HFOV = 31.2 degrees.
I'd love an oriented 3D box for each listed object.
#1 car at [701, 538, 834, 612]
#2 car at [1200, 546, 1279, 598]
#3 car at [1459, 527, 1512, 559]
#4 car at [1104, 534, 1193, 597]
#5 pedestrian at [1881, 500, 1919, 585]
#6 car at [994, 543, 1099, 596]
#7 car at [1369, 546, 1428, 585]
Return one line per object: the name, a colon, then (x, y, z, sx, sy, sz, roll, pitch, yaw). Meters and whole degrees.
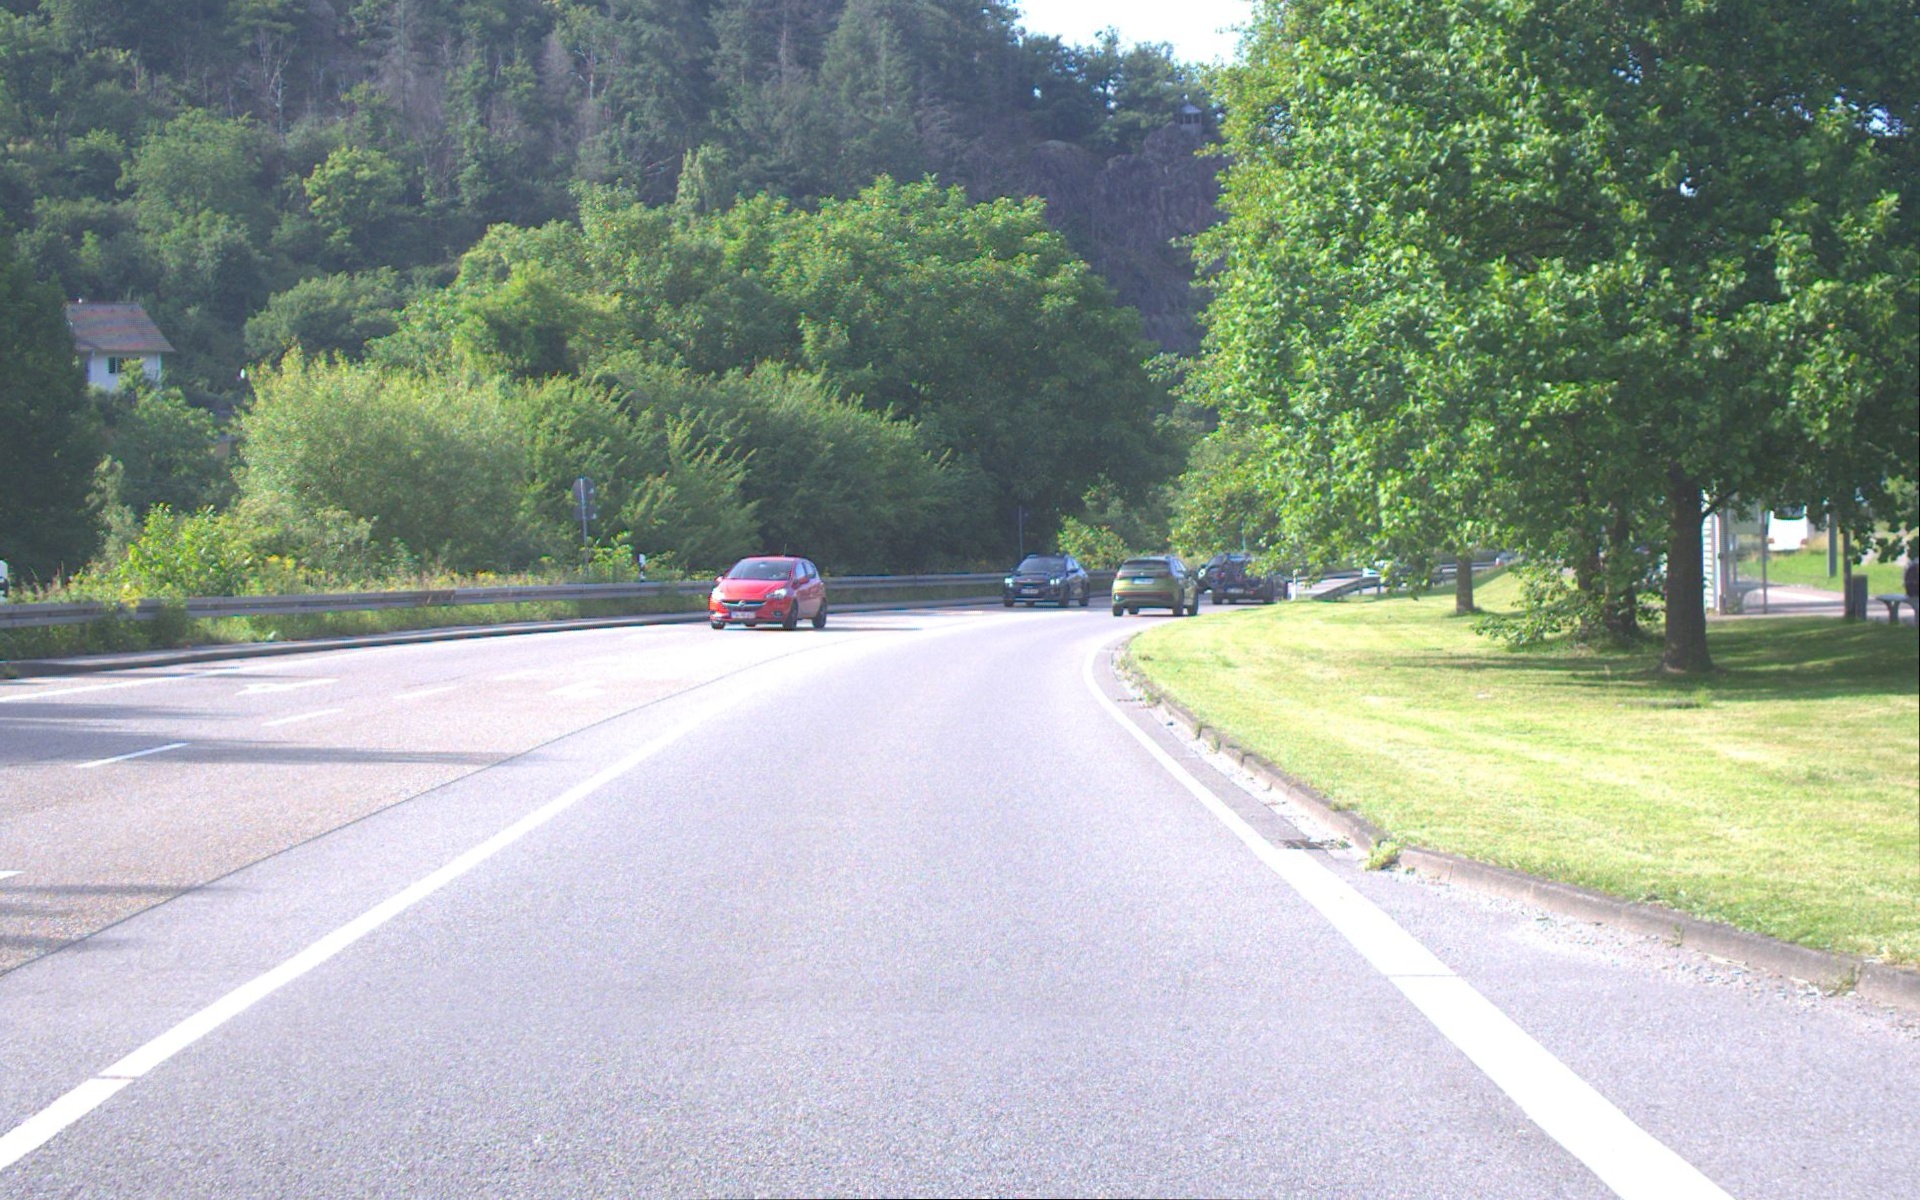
car: (-3.877, -0.521, 69.904, 1.676, 1.455, 4.200, 0, 1, 12)
car: (8.478, -0.871, 104.069, 1.841, 1.454, 3.711, -2, 1, 12)
car: (24.904, -2.692, 162.809, 1.810, 1.403, 3.770, -2, 1, 18)
car: (4.701, -0.875, 85.524, 1.729, 1.452, 3.409, -2, 1, 10)
pedestrian: (13.276, -0.808, 48.215, 0.635, 1.157, 0.726, -2, 1, 13)
car: (2.510, -0.894, 98.279, 1.852, 1.464, 4.539, 1, 1, 17)
car: (17.818, -1.412, 139.573, 1.808, 1.448, 3.644, -2, 1, 16)
